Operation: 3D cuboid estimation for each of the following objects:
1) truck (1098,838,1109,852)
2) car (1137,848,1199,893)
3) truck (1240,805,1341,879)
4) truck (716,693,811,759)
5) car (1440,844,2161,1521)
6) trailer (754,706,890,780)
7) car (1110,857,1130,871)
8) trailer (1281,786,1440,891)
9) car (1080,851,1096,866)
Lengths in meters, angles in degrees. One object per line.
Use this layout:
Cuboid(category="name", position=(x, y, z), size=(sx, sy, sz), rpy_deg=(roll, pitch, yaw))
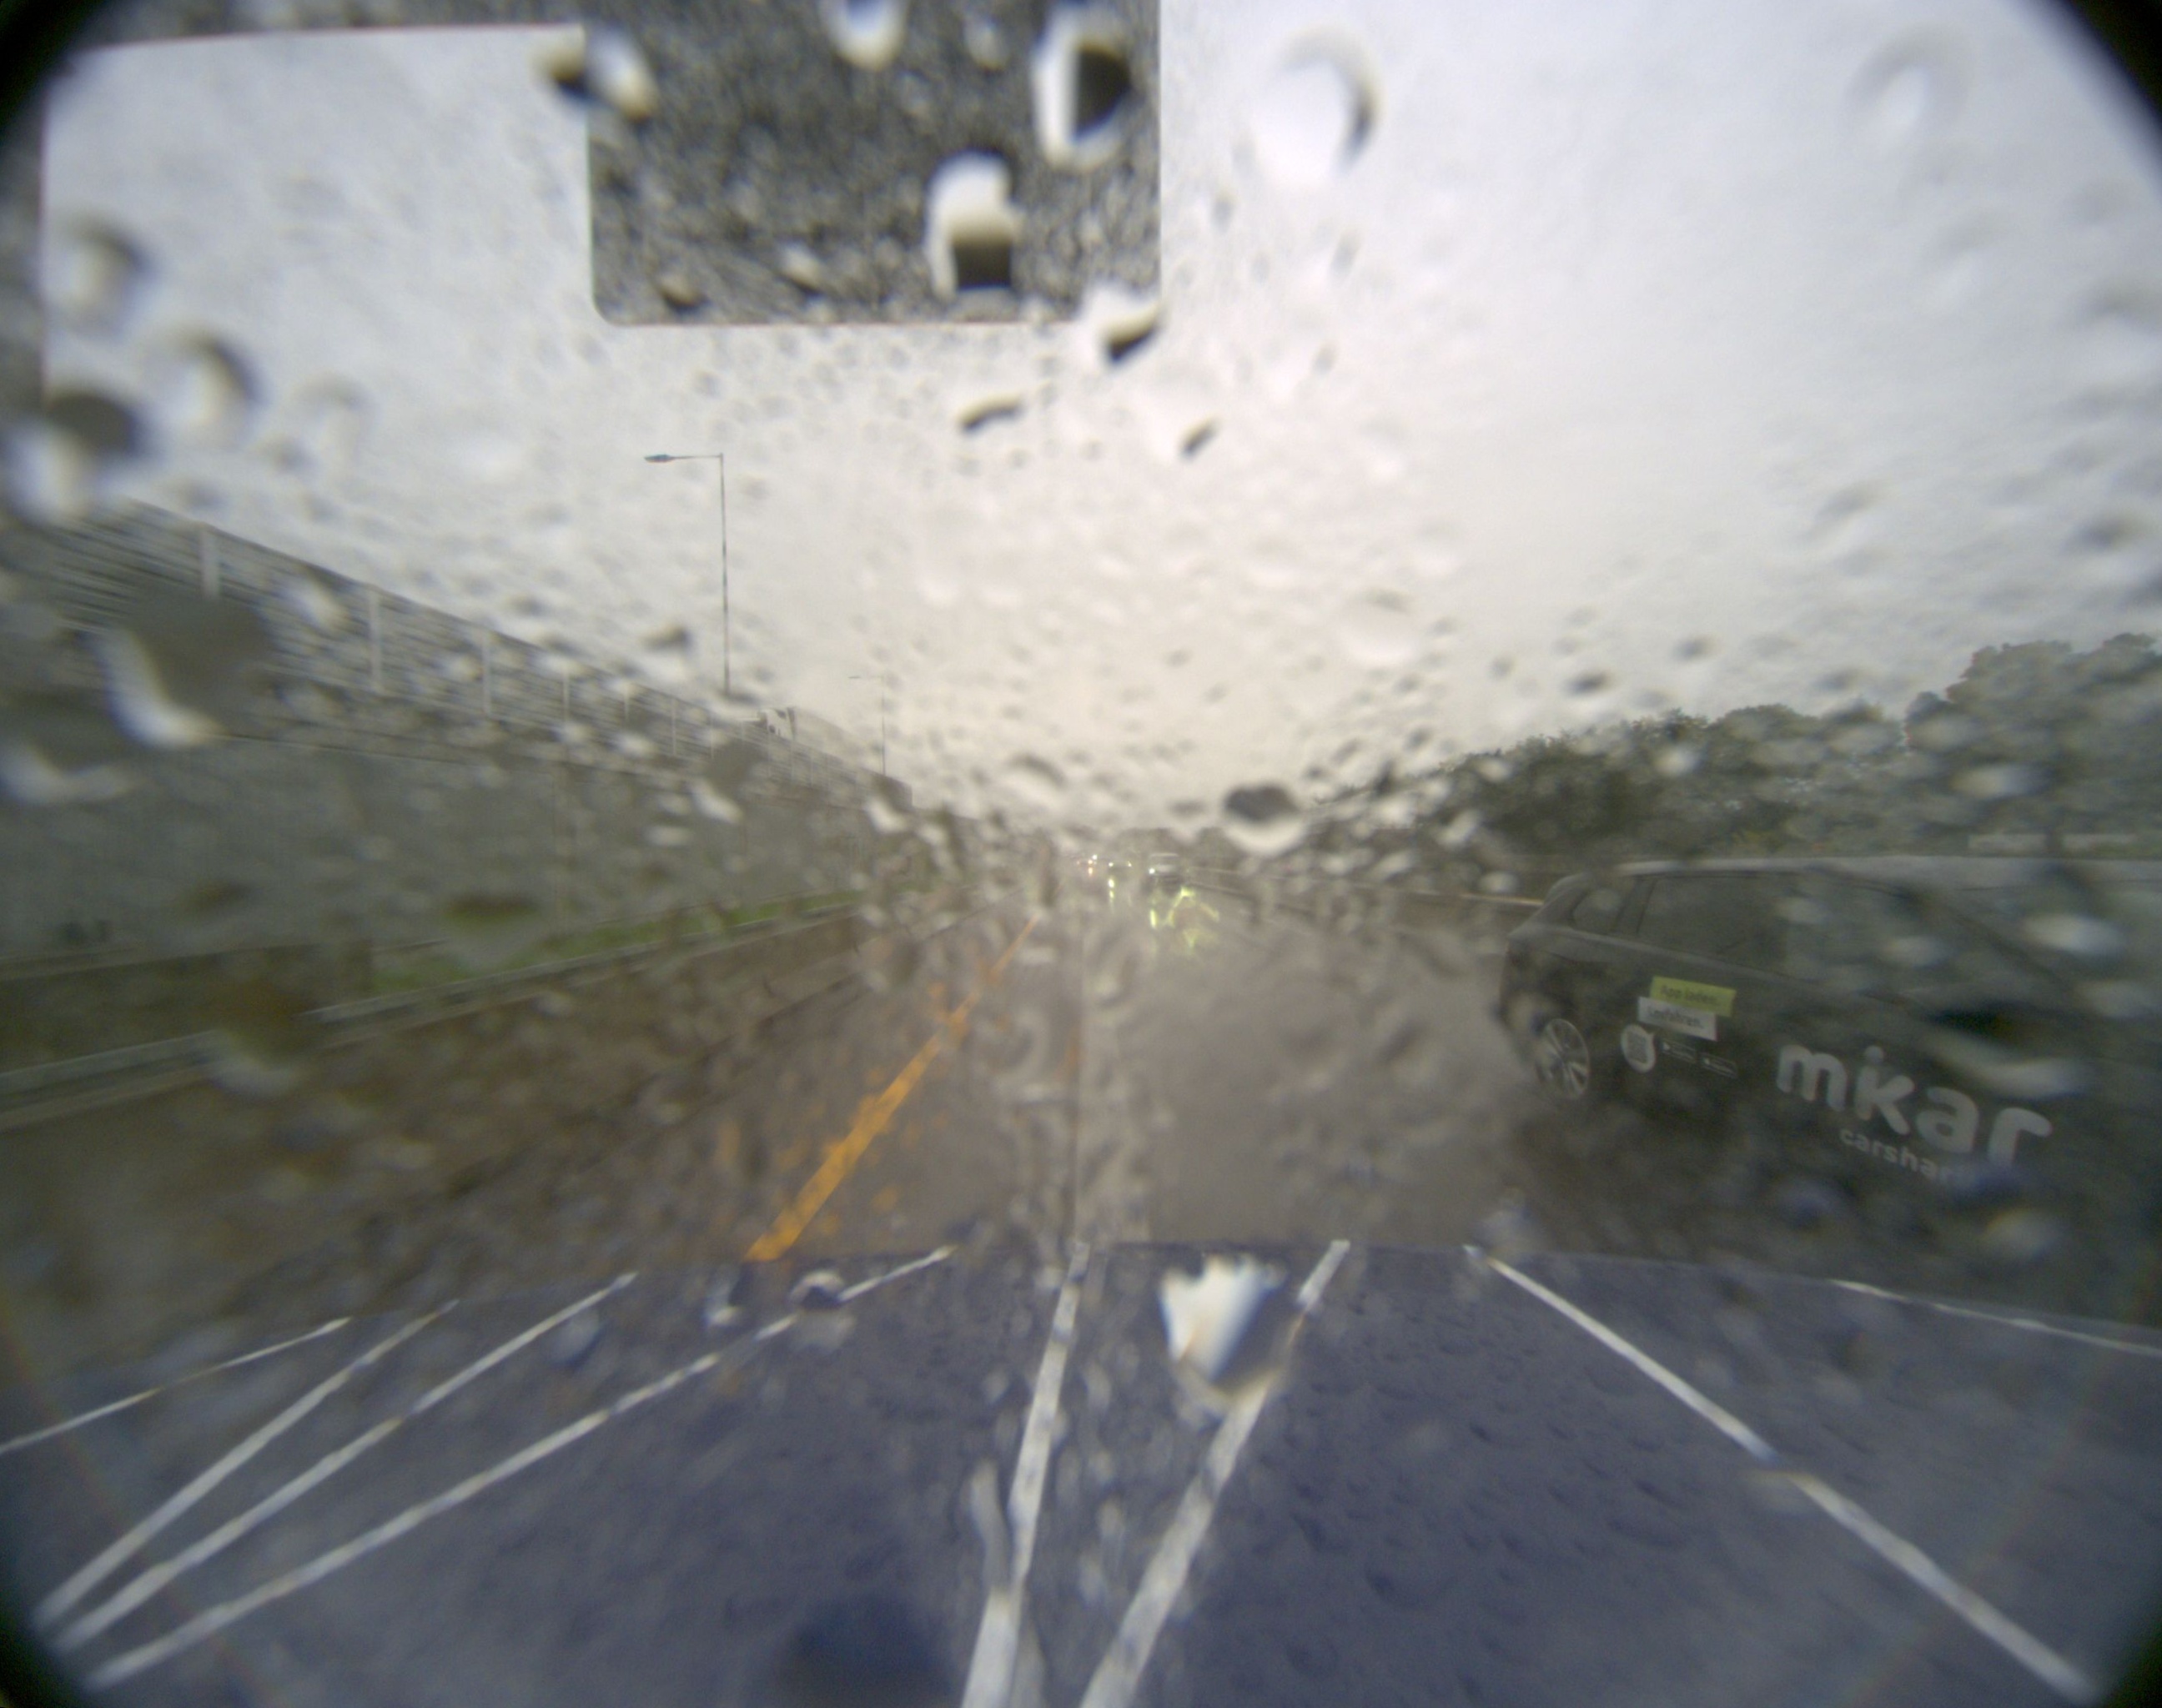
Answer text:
Cuboid(category="truck", position=(7.116, -2.959, 244.923), size=(3.013, 4.143, 9.827), rpy_deg=(-1, 2, -1))
Cuboid(category="car", position=(3.697, 0.662, 32.971), size=(1.972, 1.671, 3.998), rpy_deg=(-2, 2, -3))
Cuboid(category="truck", position=(10.604, -0.569, 39.586), size=(2.646, 3.328, 9.552), rpy_deg=(-2, 0, 1))
Cuboid(category="truck", position=(-12.656, -5.072, 30.612), size=(1.998, 2.002, 4.057), rpy_deg=(-2, 2, 1))
Cuboid(category="car", position=(3.425, 0.744, 2.732), size=(1.944, 1.519, 4.795), rpy_deg=(-1, 0, -1))
Cuboid(category="trailer", position=(-12.604, -5.354, 38.838), size=(1.998, 2.094, 13.764), rpy_deg=(-2, 2, 1))
Cuboid(category="car", position=(3.213, 0.794, 63.006), size=(1.335, 1.105, 3.198), rpy_deg=(1, 0, -2))
Cuboid(category="trailer", position=(10.506, -0.530, 29.922), size=(2.668, 3.343, 9.714), rpy_deg=(-2, 0, 1))
Cuboid(category="car", position=(0.947, 0.575, 99.144), size=(1.998, 1.762, 3.999), rpy_deg=(-2, 2, 0))
